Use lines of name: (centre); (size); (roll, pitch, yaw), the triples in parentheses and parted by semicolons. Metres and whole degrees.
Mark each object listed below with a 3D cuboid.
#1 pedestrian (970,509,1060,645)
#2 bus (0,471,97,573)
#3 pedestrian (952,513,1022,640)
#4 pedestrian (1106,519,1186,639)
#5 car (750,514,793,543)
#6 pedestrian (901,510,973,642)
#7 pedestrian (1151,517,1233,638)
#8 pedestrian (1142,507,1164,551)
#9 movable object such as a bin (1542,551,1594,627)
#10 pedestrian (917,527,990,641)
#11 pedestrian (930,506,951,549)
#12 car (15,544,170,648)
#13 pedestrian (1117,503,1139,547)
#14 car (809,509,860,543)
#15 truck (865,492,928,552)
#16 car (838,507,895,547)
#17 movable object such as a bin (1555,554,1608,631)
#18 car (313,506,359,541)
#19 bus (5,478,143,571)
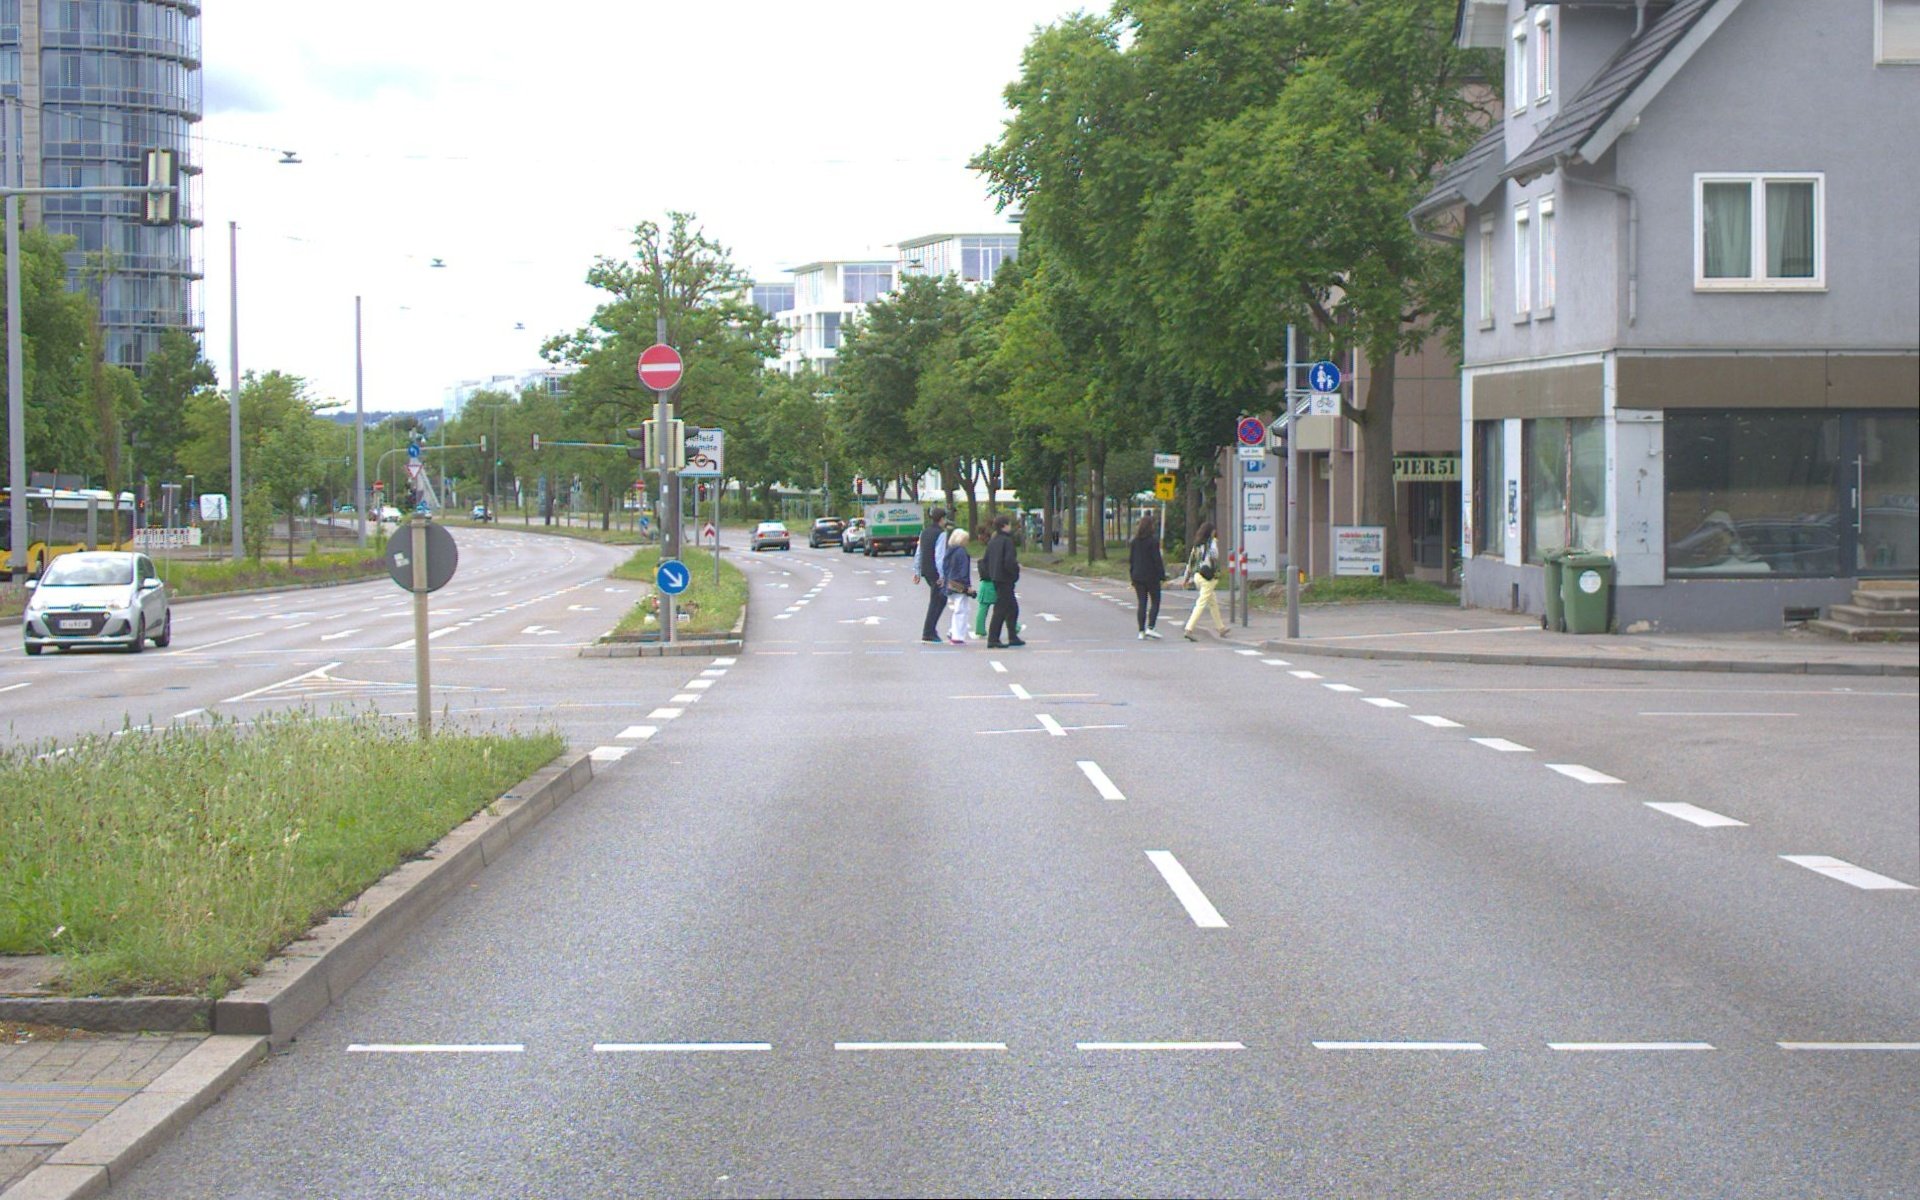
pedestrian: (0.713, -0.308, 44.859); (1.048, 1.754, 0.708); (-1, 1, -9)
bus: (-31.398, -2.561, 114.463); (3.144, 3.214, 10.286); (-1, 1, -3)
pedestrian: (0.374, -0.333, 48.741); (0.867, 1.773, 0.708); (-1, 1, -9)
pedestrian: (2.609, -0.298, 48.290); (0.868, 1.656, 0.707); (-1, 1, -44)
car: (-9.298, -3.514, 169.456); (1.967, 1.415, 4.023); (-1, 1, -5)
pedestrian: (-0.312, -0.333, 46.693); (0.867, 1.773, 0.708); (-1, 1, -9)
pedestrian: (3.212, -0.316, 47.535); (0.867, 1.656, 0.707); (-1, 1, -36)
pedestrian: (6.829, -2.503, 121.551); (0.650, 1.564, 0.671); (-1, 1, -8)
movable object such as a bin: (7.931, -0.144, 44.838); (0.529, 0.976, 0.736); (-1, 1, -1)
pedestrian: (-0.089, -0.222, 45.818); (0.867, 1.502, 0.708); (-1, 1, -9)
pedestrian: (-1.065, -3.948, 186.322); (0.930, 2.300, 1.011); (1, 0, -10)
car: (-12.805, -0.087, 50.923); (1.684, 1.457, 3.556); (-1, 1, -5)
pedestrian: (5.925, -2.652, 121.541); (0.650, 1.564, 0.671); (-1, 1, -8)
car: (-6.292, -3.694, 171.621); (2.250, 1.641, 4.934); (-1, 1, -5)
truck: (-2.678, -3.238, 143.131); (2.251, 2.408, 4.934); (-1, 1, -5)
car: (-4.243, -3.301, 155.294); (2.251, 1.751, 4.934); (-1, 1, -5)
movable object such as a bin: (7.959, -0.100, 44.048); (0.529, 0.976, 0.736); (-1, 1, -1)
car: (-36.337, -4.452, 200.260); (1.965, 2.007, 4.000); (1, 1, -1)
bus: (-31.737, -2.702, 123.467); (3.144, 3.214, 7.766); (-1, 1, -2)
